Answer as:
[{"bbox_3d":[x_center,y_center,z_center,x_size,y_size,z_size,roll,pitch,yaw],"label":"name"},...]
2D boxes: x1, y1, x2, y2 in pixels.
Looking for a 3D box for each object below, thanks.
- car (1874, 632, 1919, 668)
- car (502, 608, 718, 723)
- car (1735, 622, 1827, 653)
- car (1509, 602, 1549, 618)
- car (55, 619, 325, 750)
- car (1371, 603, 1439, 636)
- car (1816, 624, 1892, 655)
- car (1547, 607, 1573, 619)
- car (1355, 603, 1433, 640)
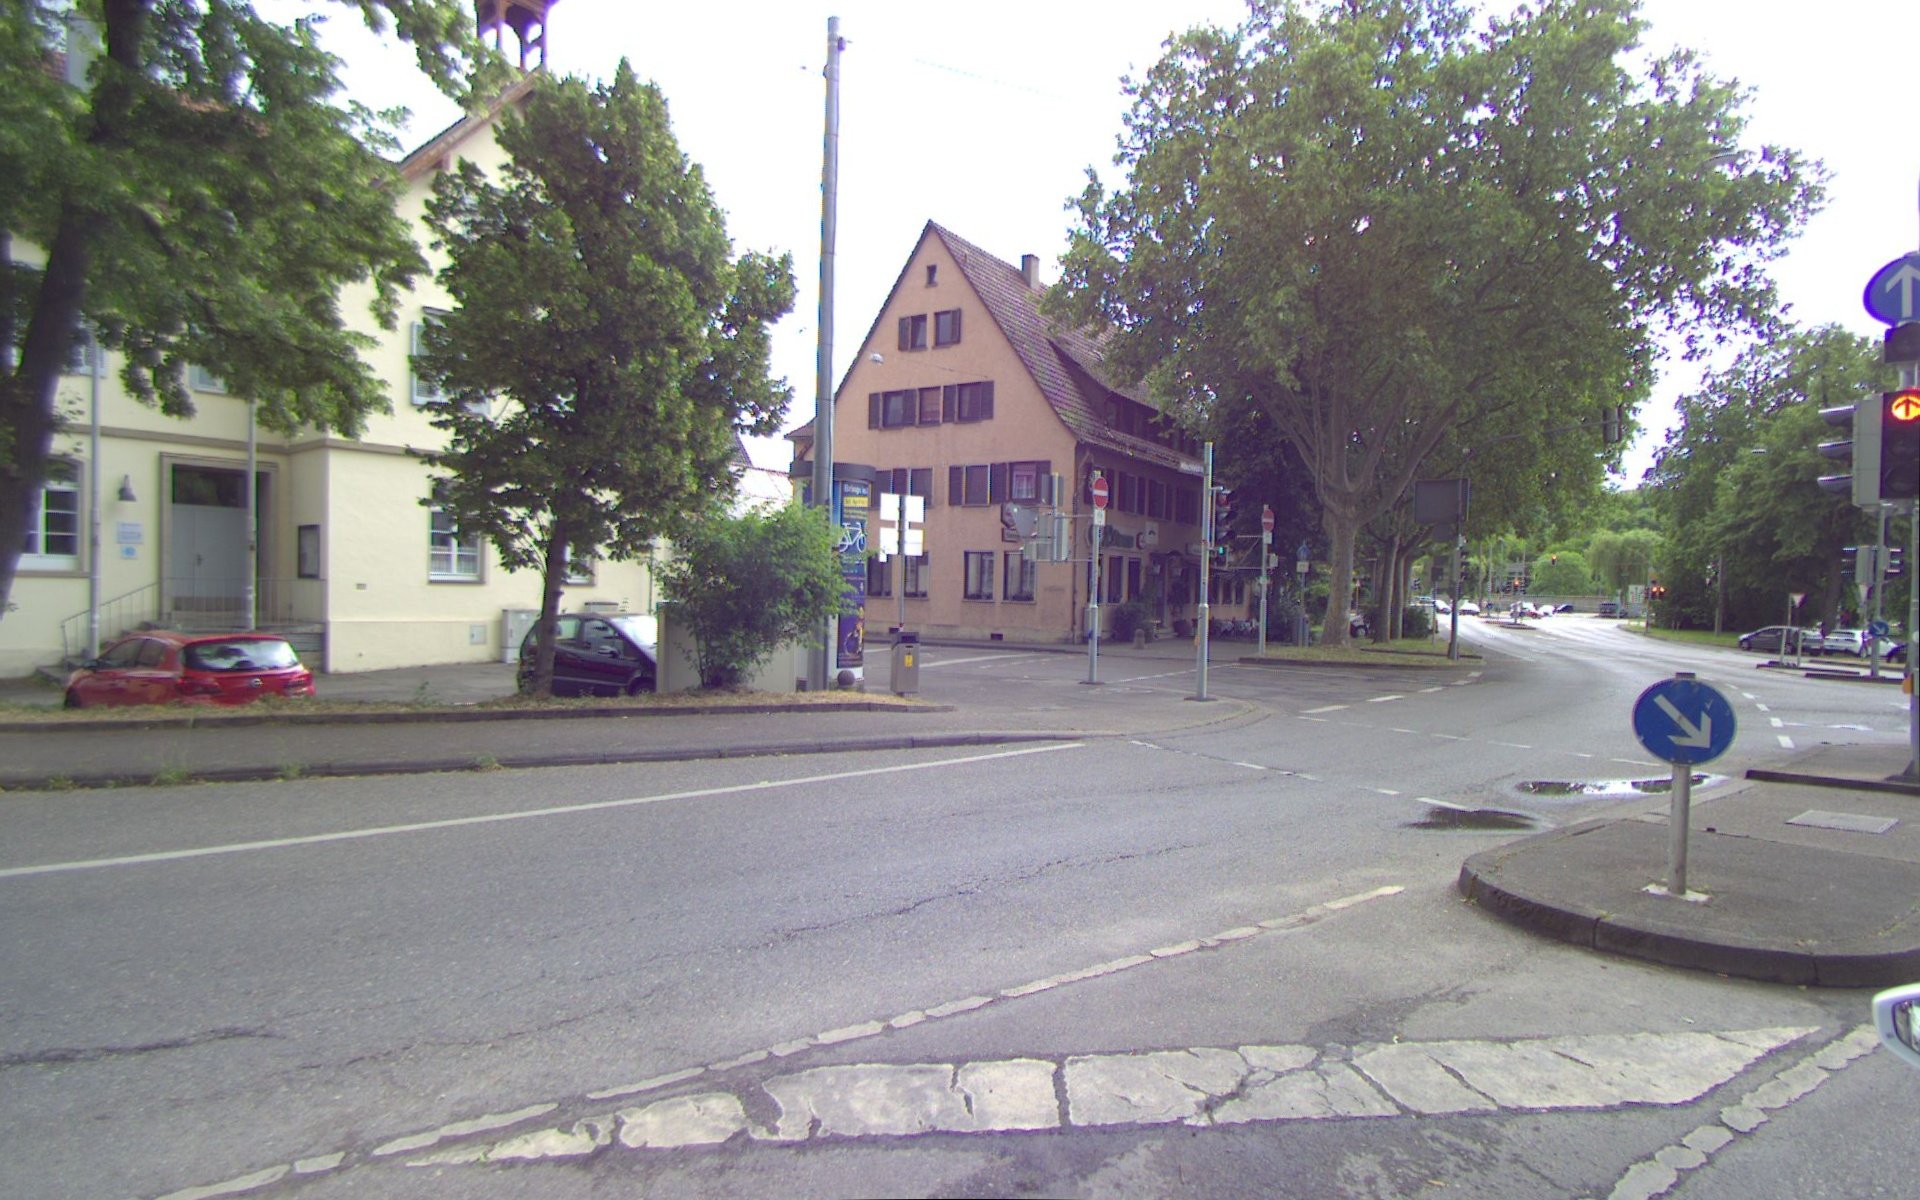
[{"bbox_3d":[39.569,2.079,40.942,1.442,1.412,3.596,2,0,3],"label":"car"},{"bbox_3d":[-5.763,1.006,16.589,3.035,1.654,1.607,2,0,22],"label":"car"},{"bbox_3d":[43.862,1.970,53.758,1.559,1.484,3.543,2,0,-17],"label":"car"},{"bbox_3d":[71.352,1.253,125.948,1.986,1.806,3.949,2,0,-42],"label":"car"},{"bbox_3d":[-10.174,1.013,13.241,3.492,1.397,1.605,2,0,30],"label":"car"},{"bbox_3d":[25.468,1.088,57.464,3.387,1.765,1.570,2,0,28],"label":"car"},{"bbox_3d":[47.301,2.084,53.158,3.342,1.484,1.543,2,0,-19],"label":"car"},{"bbox_3d":[108.222,2.325,181.091,3.928,2.040,1.996,2,0,30],"label":"car"},{"bbox_3d":[21.407,1.049,49.580,3.387,1.663,1.570,2,0,28],"label":"car"}]
